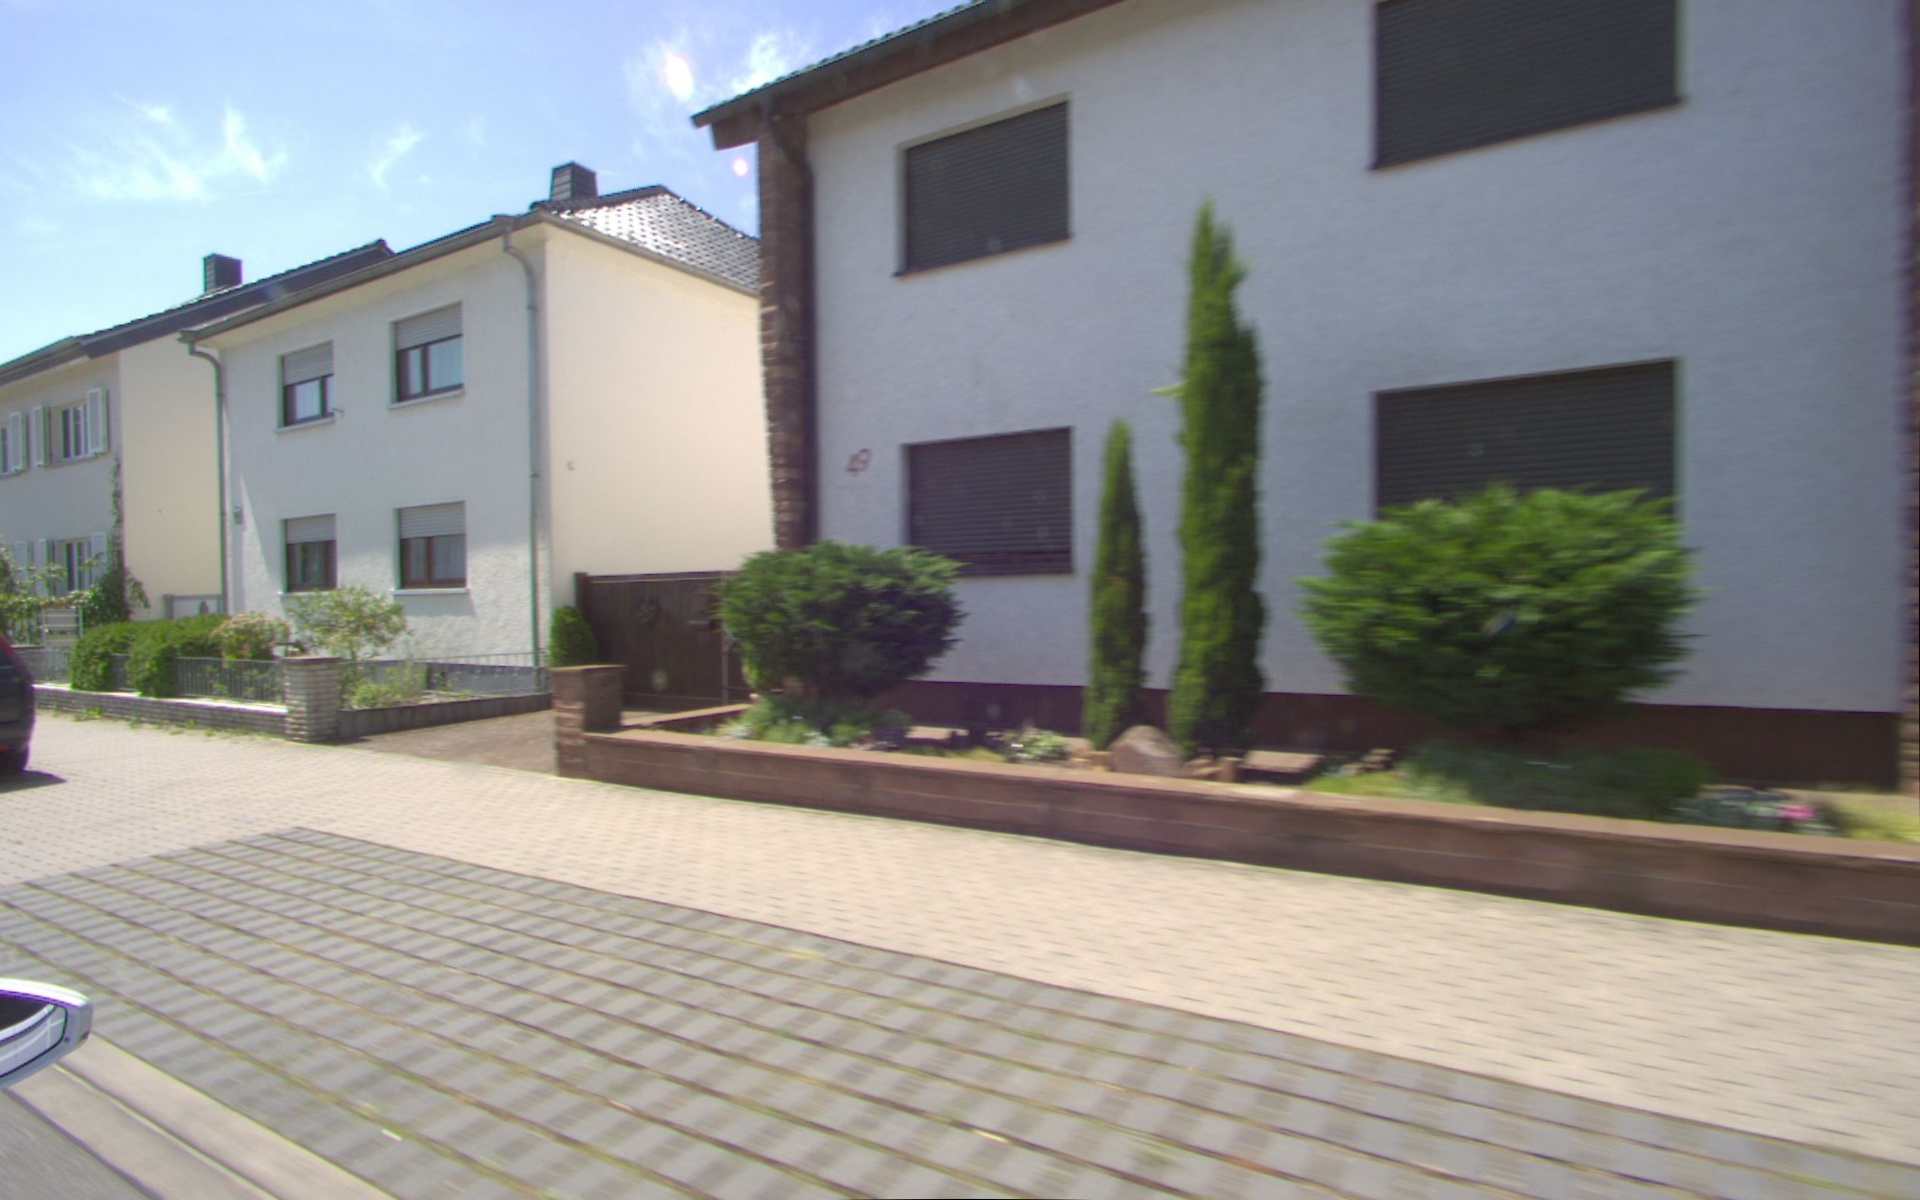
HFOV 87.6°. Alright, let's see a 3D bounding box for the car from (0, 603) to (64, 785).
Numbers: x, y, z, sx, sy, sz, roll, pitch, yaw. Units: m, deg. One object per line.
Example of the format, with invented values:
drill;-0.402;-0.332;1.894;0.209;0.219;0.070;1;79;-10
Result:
car;-10.349;0.829;9.265;4.381;1.554;1.739;-1;1;30
